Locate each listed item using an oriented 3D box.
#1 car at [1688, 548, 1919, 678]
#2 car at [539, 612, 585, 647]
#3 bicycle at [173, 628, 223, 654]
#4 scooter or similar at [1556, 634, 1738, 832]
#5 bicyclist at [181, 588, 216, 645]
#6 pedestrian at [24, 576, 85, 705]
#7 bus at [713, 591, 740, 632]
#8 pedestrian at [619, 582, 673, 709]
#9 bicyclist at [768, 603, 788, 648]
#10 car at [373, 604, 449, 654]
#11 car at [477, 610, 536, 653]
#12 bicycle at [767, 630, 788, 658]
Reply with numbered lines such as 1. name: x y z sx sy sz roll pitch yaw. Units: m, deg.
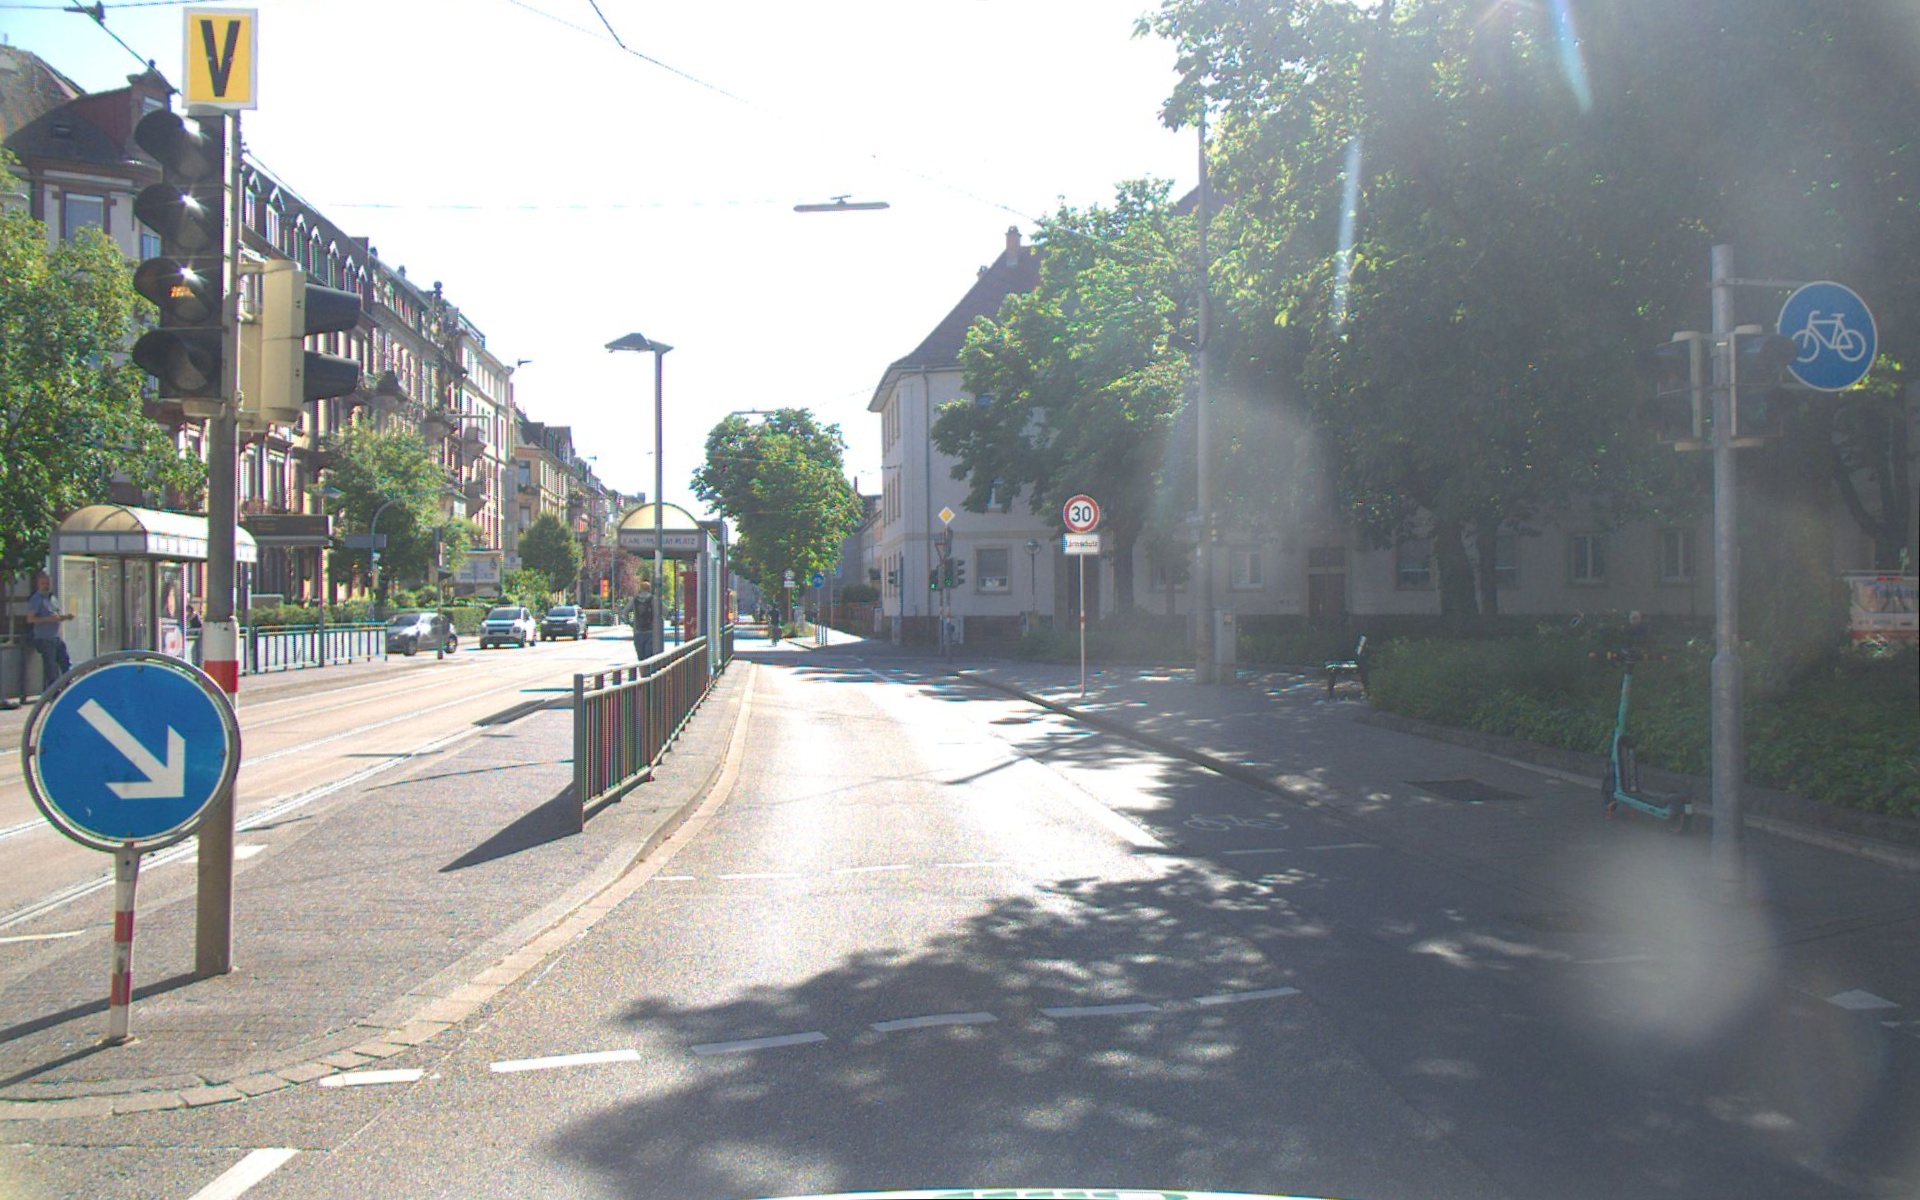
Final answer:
1. car: 16.258 0.282 31.521 2.079 2.247 4.935 1 -1 -8
2. car: -19.278 1.448 80.286 1.742 1.646 3.992 1 -1 -8
3. bicycle: -23.127 1.252 50.217 0.704 0.763 1.915 1 -1 -3
4. scooter or similar: 4.882 0.914 11.838 0.663 1.333 1.327 1 -1 -5
5. bicyclist: -23.112 0.508 50.233 0.699 1.695 0.734 1 -1 -3
6. pedestrian: -13.044 0.578 23.828 0.594 1.826 0.578 0 -1 -8
7. bus: -21.296 1.107 150.500 2.341 3.558 7.368 1 -1 -9
8. pedestrian: -5.169 0.745 27.236 0.780 2.049 0.739 1 -1 -6
9. bicyclist: -7.714 1.078 69.931 0.802 1.843 1.057 1 -1 -7
10. car: -18.753 0.994 56.605 1.742 1.646 3.992 1 -1 -8
11. car: -18.099 1.258 66.150 1.742 1.646 3.992 1 -1 -8
12. bicycle: -7.727 1.849 69.963 0.826 1.176 2.535 1 -1 -7
